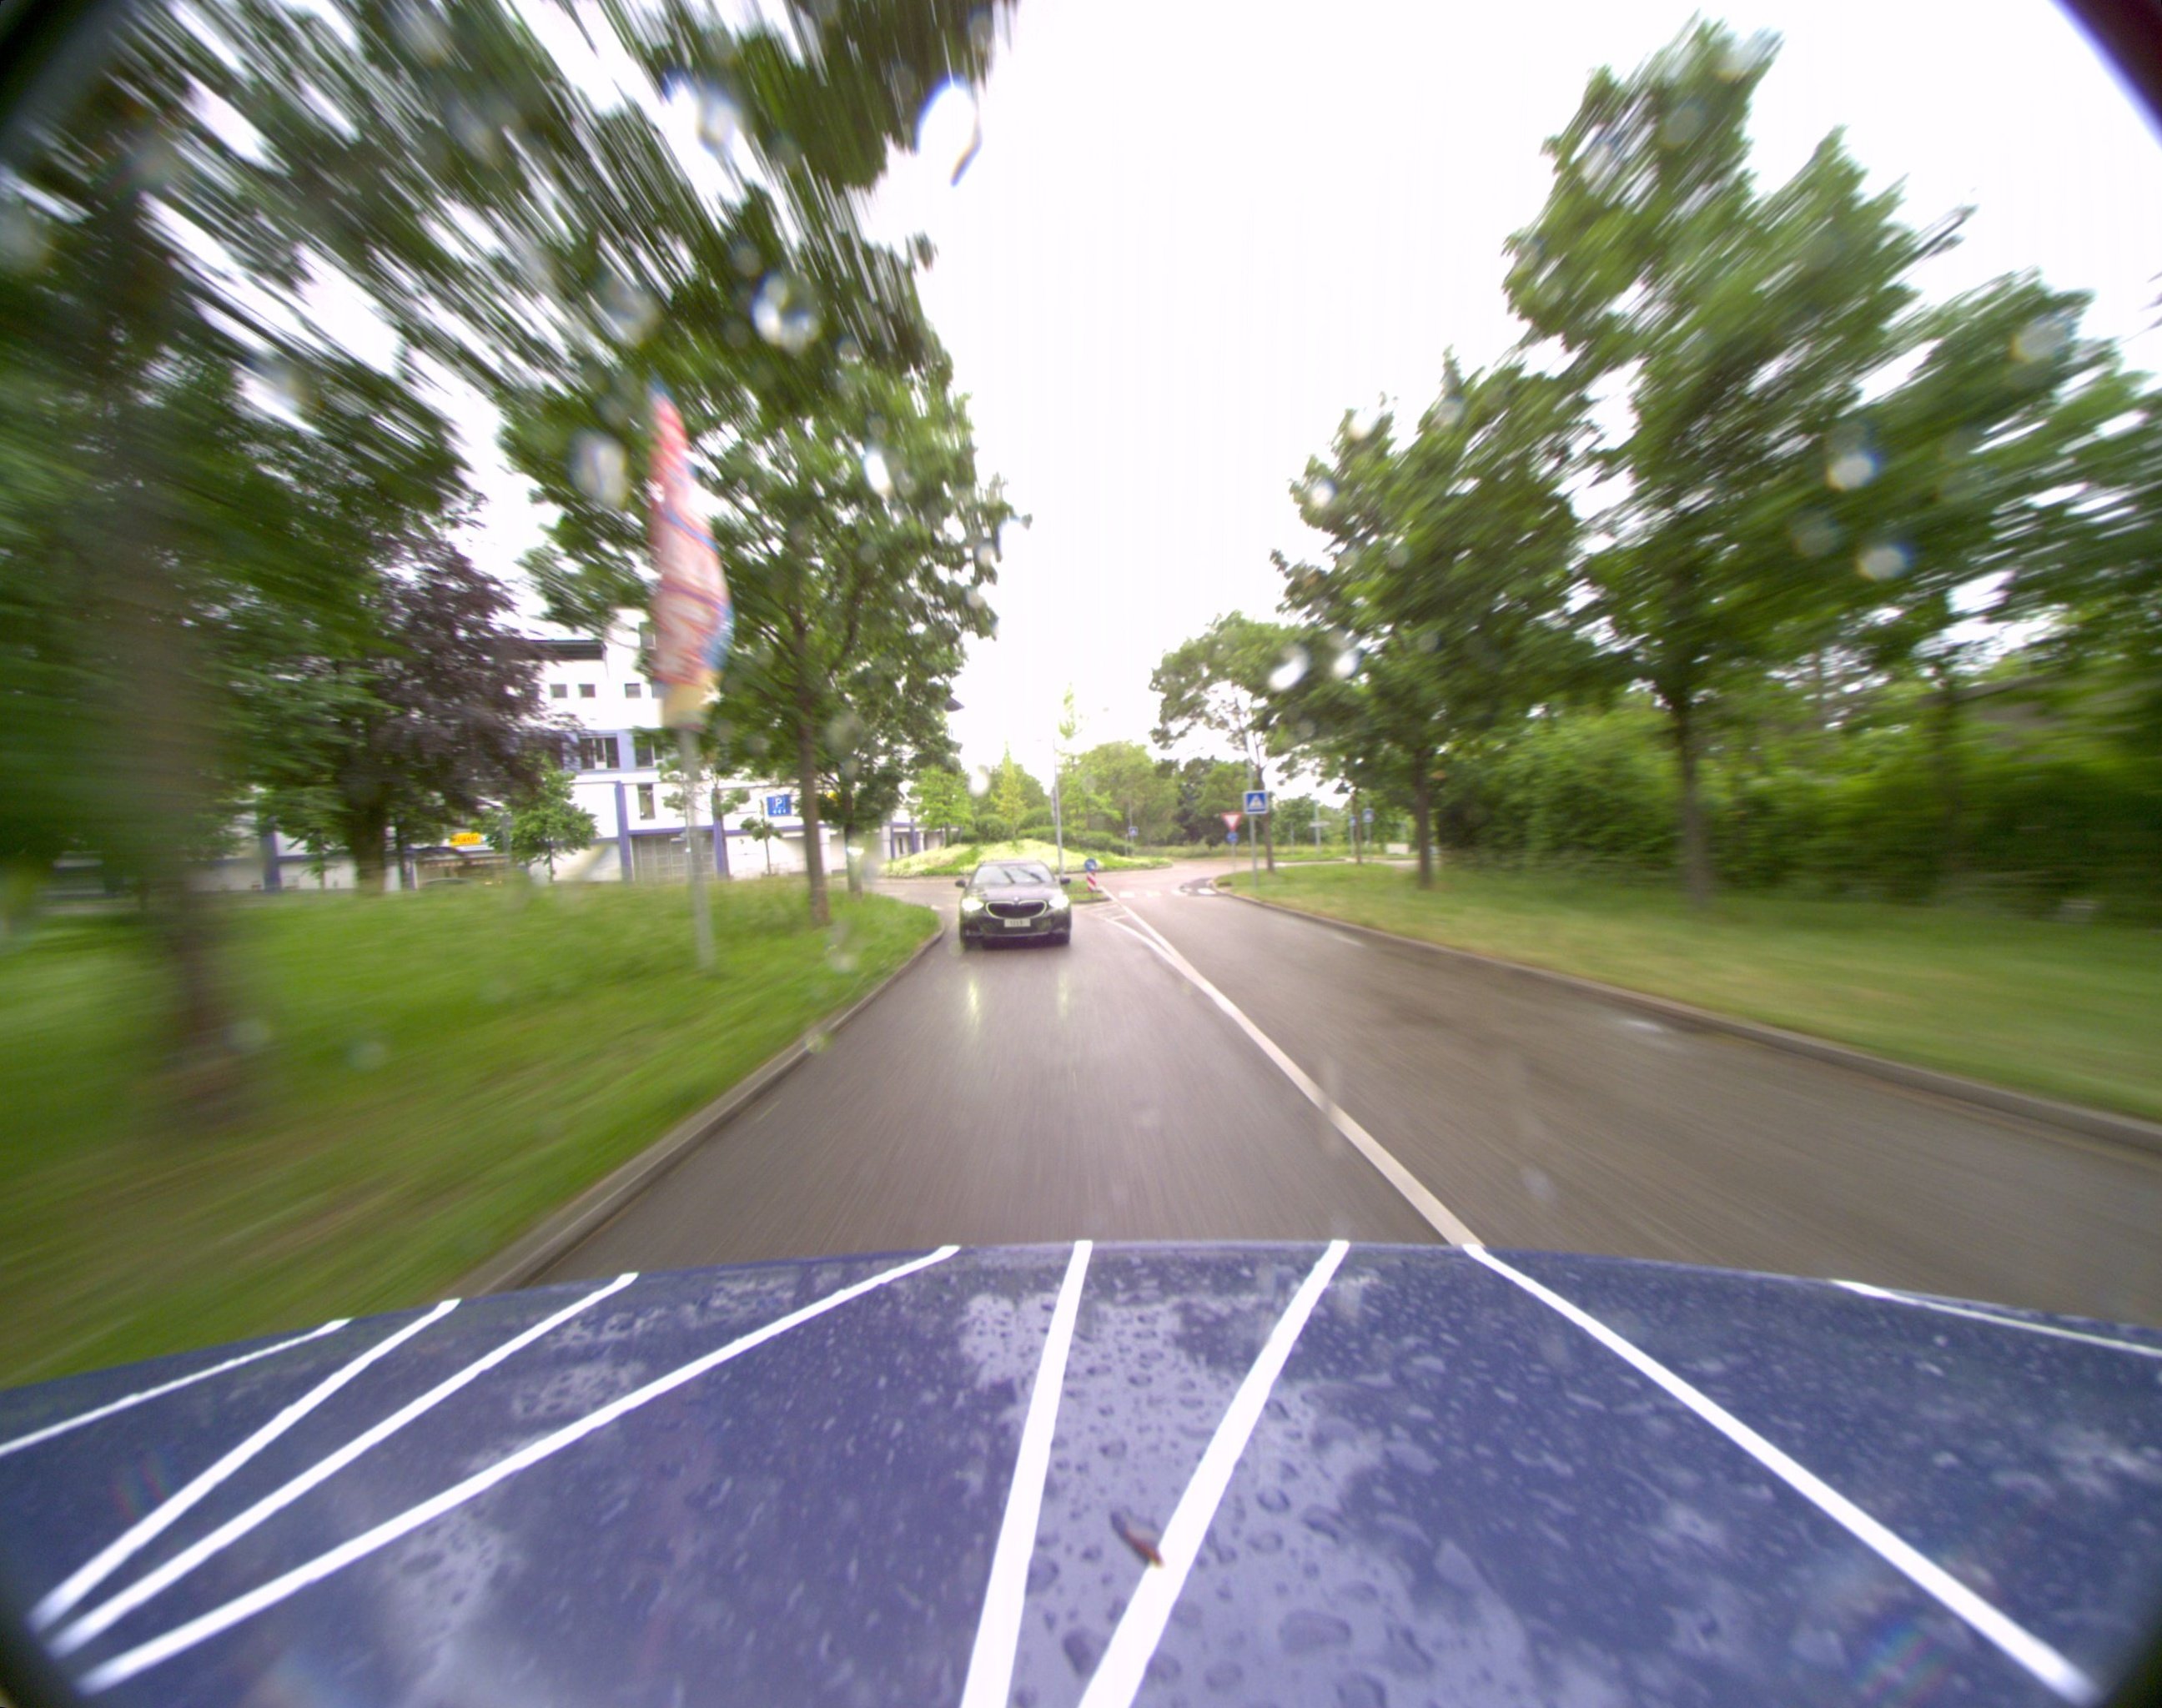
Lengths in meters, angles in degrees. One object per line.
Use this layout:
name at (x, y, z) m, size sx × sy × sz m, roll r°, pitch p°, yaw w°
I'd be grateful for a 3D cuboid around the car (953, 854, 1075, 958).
car at (-1.248, 0.822, 14.118) m, size 1.846 × 1.471 × 3.997 m, roll -4°, pitch 1°, yaw -5°
